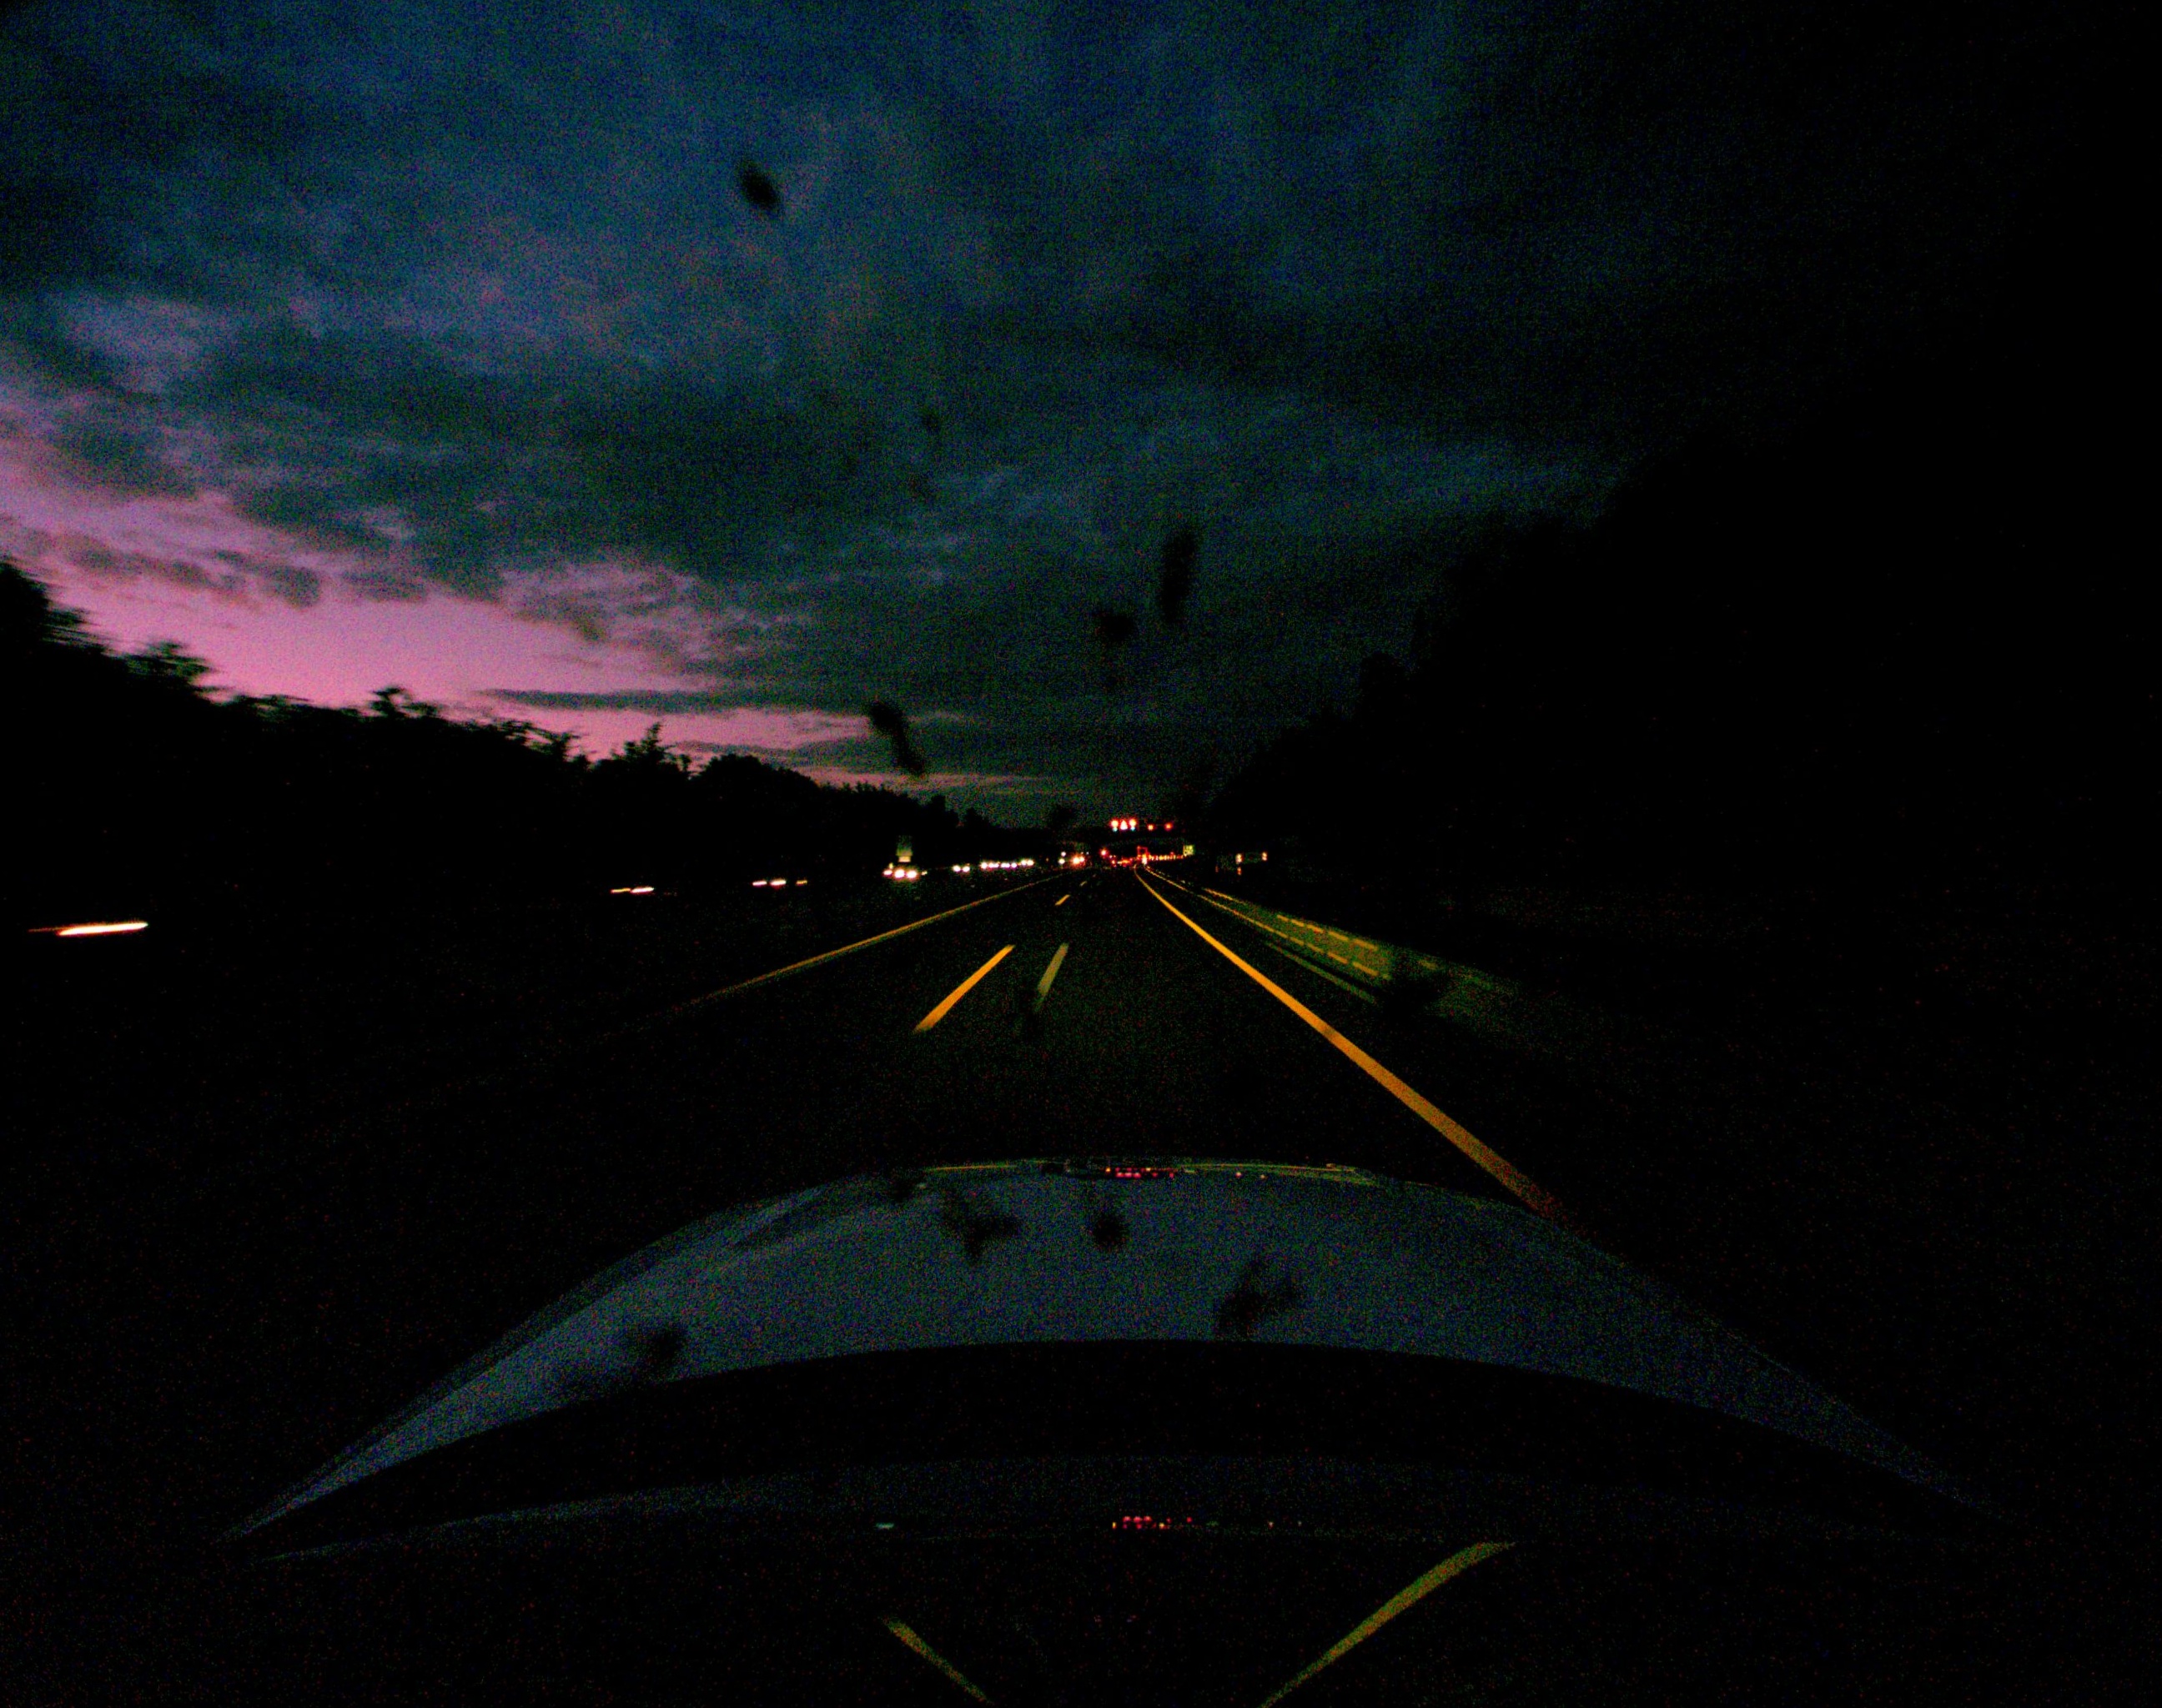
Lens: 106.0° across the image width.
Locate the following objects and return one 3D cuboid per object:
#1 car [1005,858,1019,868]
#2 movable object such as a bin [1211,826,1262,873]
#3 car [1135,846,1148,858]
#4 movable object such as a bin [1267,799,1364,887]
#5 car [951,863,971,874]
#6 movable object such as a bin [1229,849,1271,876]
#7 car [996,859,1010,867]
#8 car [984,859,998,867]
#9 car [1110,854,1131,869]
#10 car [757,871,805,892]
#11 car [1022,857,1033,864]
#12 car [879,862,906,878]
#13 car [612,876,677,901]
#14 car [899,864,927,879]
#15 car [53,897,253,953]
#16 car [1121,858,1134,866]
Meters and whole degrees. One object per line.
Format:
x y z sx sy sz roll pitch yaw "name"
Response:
-12.495 1.629 147.452 1.892 1.738 4.813 0 0 4 "car"
10.873 -0.279 57.391 2.610 3.108 5.808 -2 -1 2 "movable object such as a bin"
17.836 -0.474 239.901 3.589 3.396 8.022 0 0 4 "car"
9.743 -0.413 34.487 2.554 3.318 5.581 -3 -1 2 "movable object such as a bin"
-16.719 2.016 113.716 1.742 1.454 4.675 0 0 4 "car"
10.811 0.554 52.420 1.985 1.601 4.087 -3 -1 3 "movable object such as a bin"
-14.573 1.725 151.475 1.802 1.485 4.707 0 0 4 "car"
-17.296 1.638 156.014 1.817 1.485 4.707 0 0 4 "car"
4.252 0.826 88.246 2.257 1.621 4.002 0 0 2 "car"
-23.443 2.118 63.772 1.665 1.470 4.653 0 0 5 "car"
-12.723 1.615 194.156 1.795 1.638 4.757 0 0 5 "car"
-21.399 1.780 92.605 1.743 1.722 4.673 0 0 2 "car"
-27.631 2.142 51.734 1.569 1.470 4.231 0 0 4 "car"
-18.250 1.885 88.587 1.799 1.588 4.880 0 0 2 "car"
-29.654 2.228 26.247 1.569 1.470 4.100 0 0 4 "car"
8.527 1.483 148.978 1.961 1.437 4.008 0 0 8 "car"
